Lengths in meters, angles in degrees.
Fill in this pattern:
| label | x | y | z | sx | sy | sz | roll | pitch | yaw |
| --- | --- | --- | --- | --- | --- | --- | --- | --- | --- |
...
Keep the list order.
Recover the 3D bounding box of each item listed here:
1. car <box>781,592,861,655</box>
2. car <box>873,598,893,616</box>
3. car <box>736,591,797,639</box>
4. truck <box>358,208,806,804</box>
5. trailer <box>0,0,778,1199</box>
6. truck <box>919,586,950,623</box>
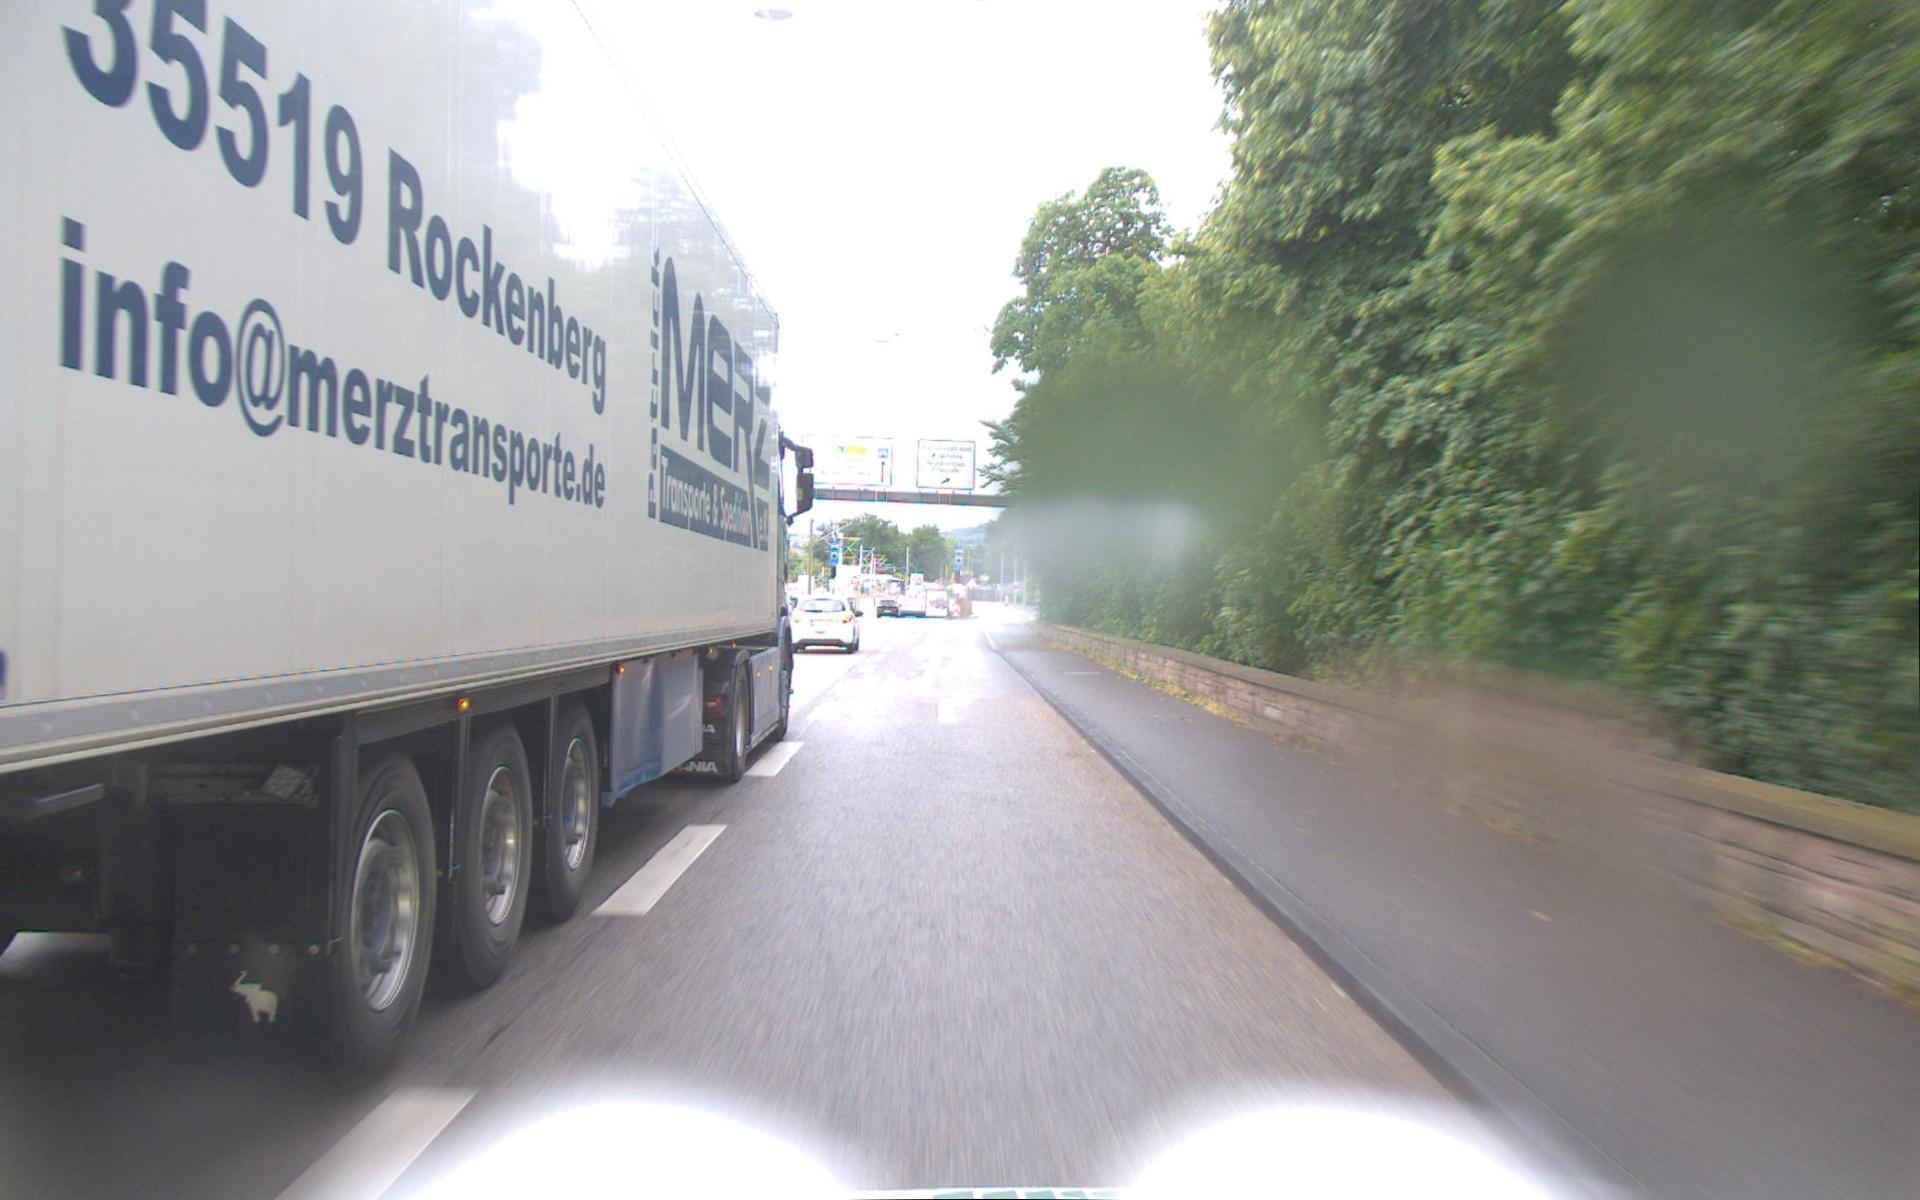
| label | x | y | z | sx | sy | sz | roll | pitch | yaw |
| --- | --- | --- | --- | --- | --- | --- | --- | --- | --- |
| car | -3.609 | 0.579 | 43.489 | 1.773 | 1.448 | 4.000 | 1 | 2 | -1 |
| car | -5.881 | 0.532 | 127.031 | 1.397 | 1.378 | 2.960 | 1 | 0 | -1 |
| car | -6.616 | 0.473 | 56.744 | 1.647 | 1.471 | 4.000 | 1 | 2 | -1 |
| truck | -3.005 | -0.687 | 15.041 | 2.700 | 4.278 | 6.305 | 0 | 0 | -1 |
| trailer | -2.915 | -0.661 | 8.247 | 2.706 | 4.327 | 13.181 | 0 | 0 | -1 |
| truck | -2.938 | 0.507 | 190.873 | 3.446 | 4.110 | 8.073 | 1 | 0 | -1 |
